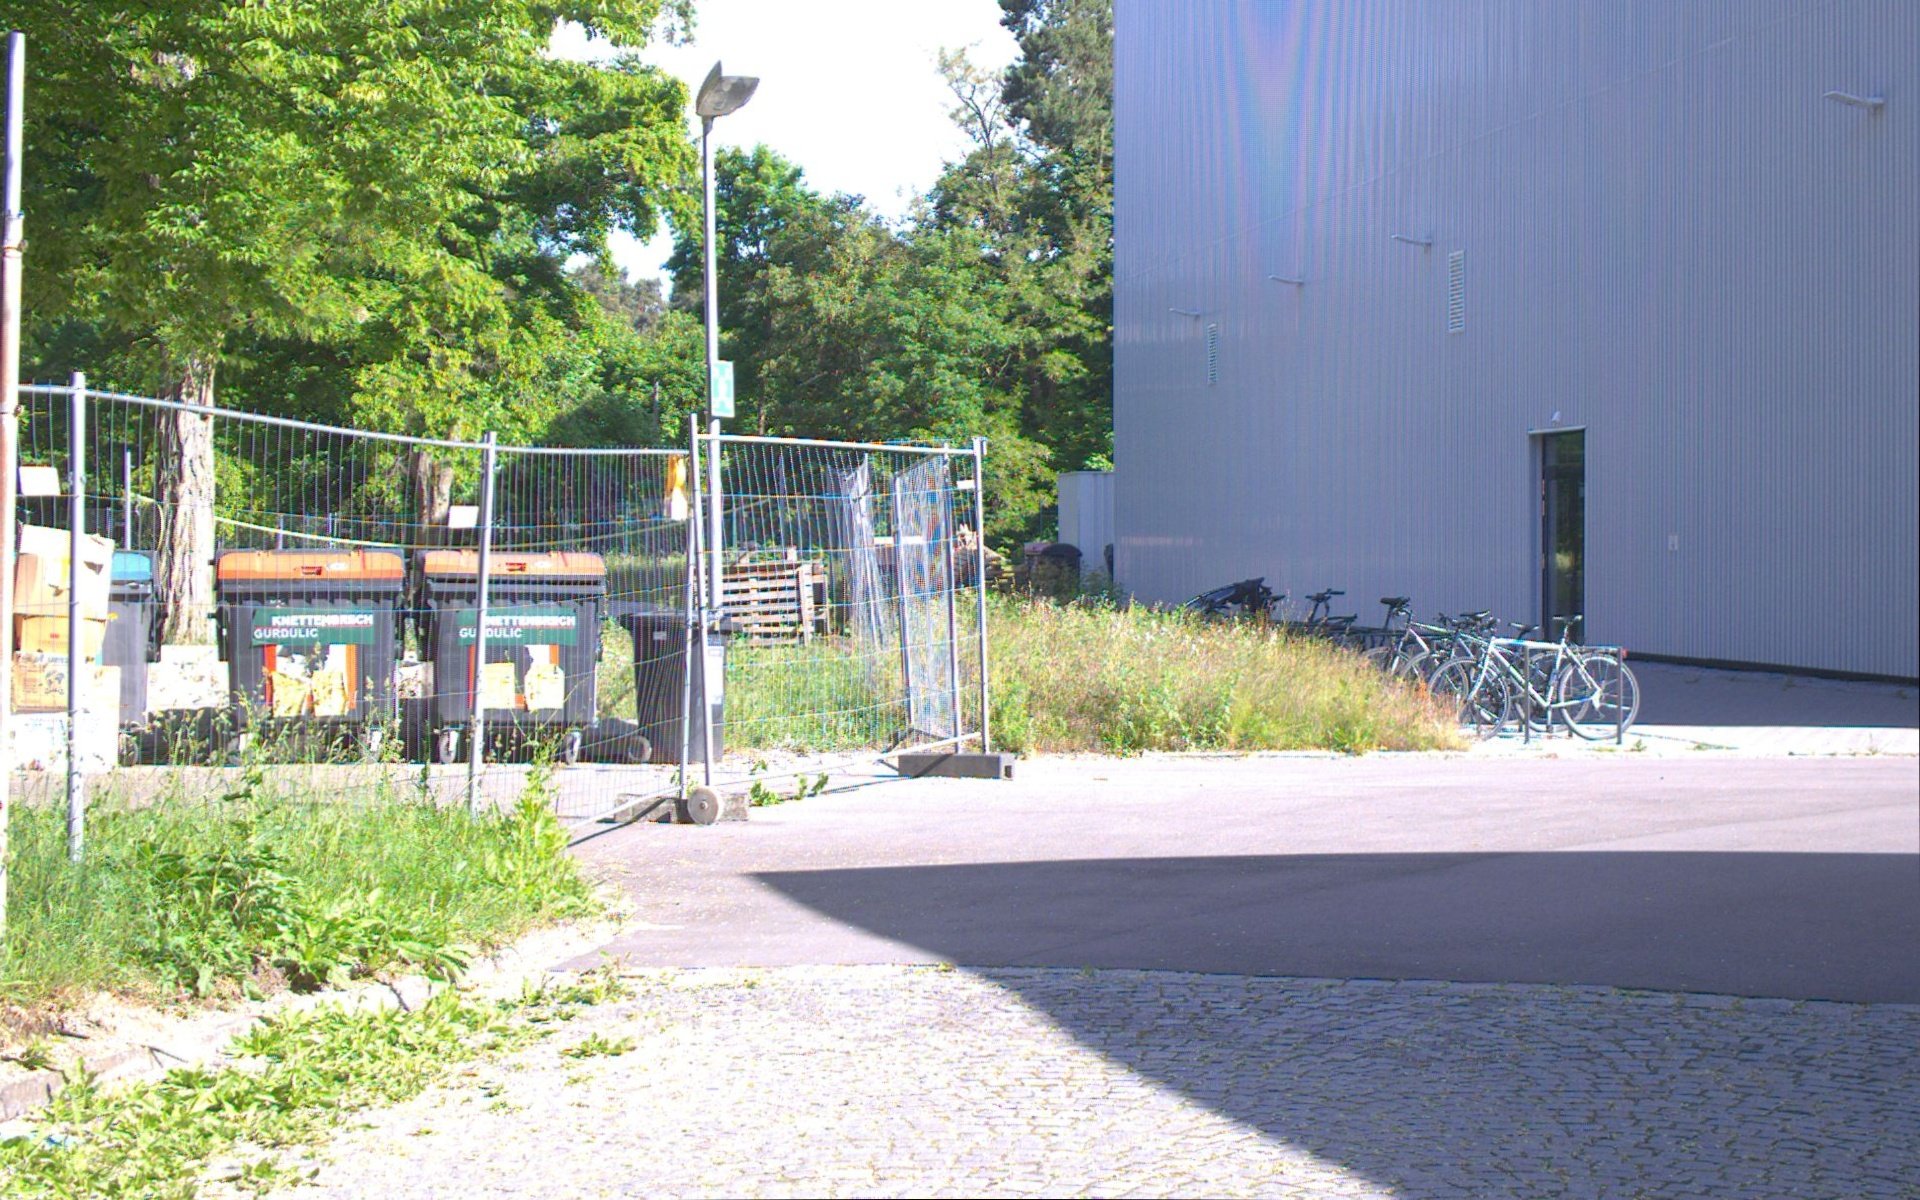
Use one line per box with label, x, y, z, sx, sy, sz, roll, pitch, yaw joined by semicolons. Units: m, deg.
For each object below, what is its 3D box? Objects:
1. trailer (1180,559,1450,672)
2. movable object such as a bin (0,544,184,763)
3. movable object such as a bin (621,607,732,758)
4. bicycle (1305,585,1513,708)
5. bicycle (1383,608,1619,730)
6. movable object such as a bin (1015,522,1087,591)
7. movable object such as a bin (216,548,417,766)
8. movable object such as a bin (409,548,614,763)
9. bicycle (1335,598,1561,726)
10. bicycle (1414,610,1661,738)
trailer;3.896;0.159;37.864;2.710;1.195;1.246;-1;1;-10
movable object such as a bin;-5.864;0.340;22.976;1.287;1.421;1.033;-1;1;-11
movable object such as a bin;-1.933;0.557;23.503;0.641;1.004;0.605;0;1;7
bicycle;4.220;0.431;32.310;1.883;1.122;0.433;-1;1;-9
bicycle;4.485;0.564;28.509;1.883;0.974;0.433;-1;1;-9
movable object such as a bin;2.211;-1.063;83.962;1.363;1.650;2.843;-1;1;-7
movable object such as a bin;-4.348;0.364;23.211;1.287;1.421;1.033;-1;1;-11
movable object such as a bin;-3.070;0.362;23.475;1.287;1.421;1.033;-1;1;-13
bicycle;4.223;0.530;29.771;1.883;1.078;0.433;-1;1;-9
bicycle;4.574;0.577;27.248;1.883;0.974;0.433;-1;1;-9
